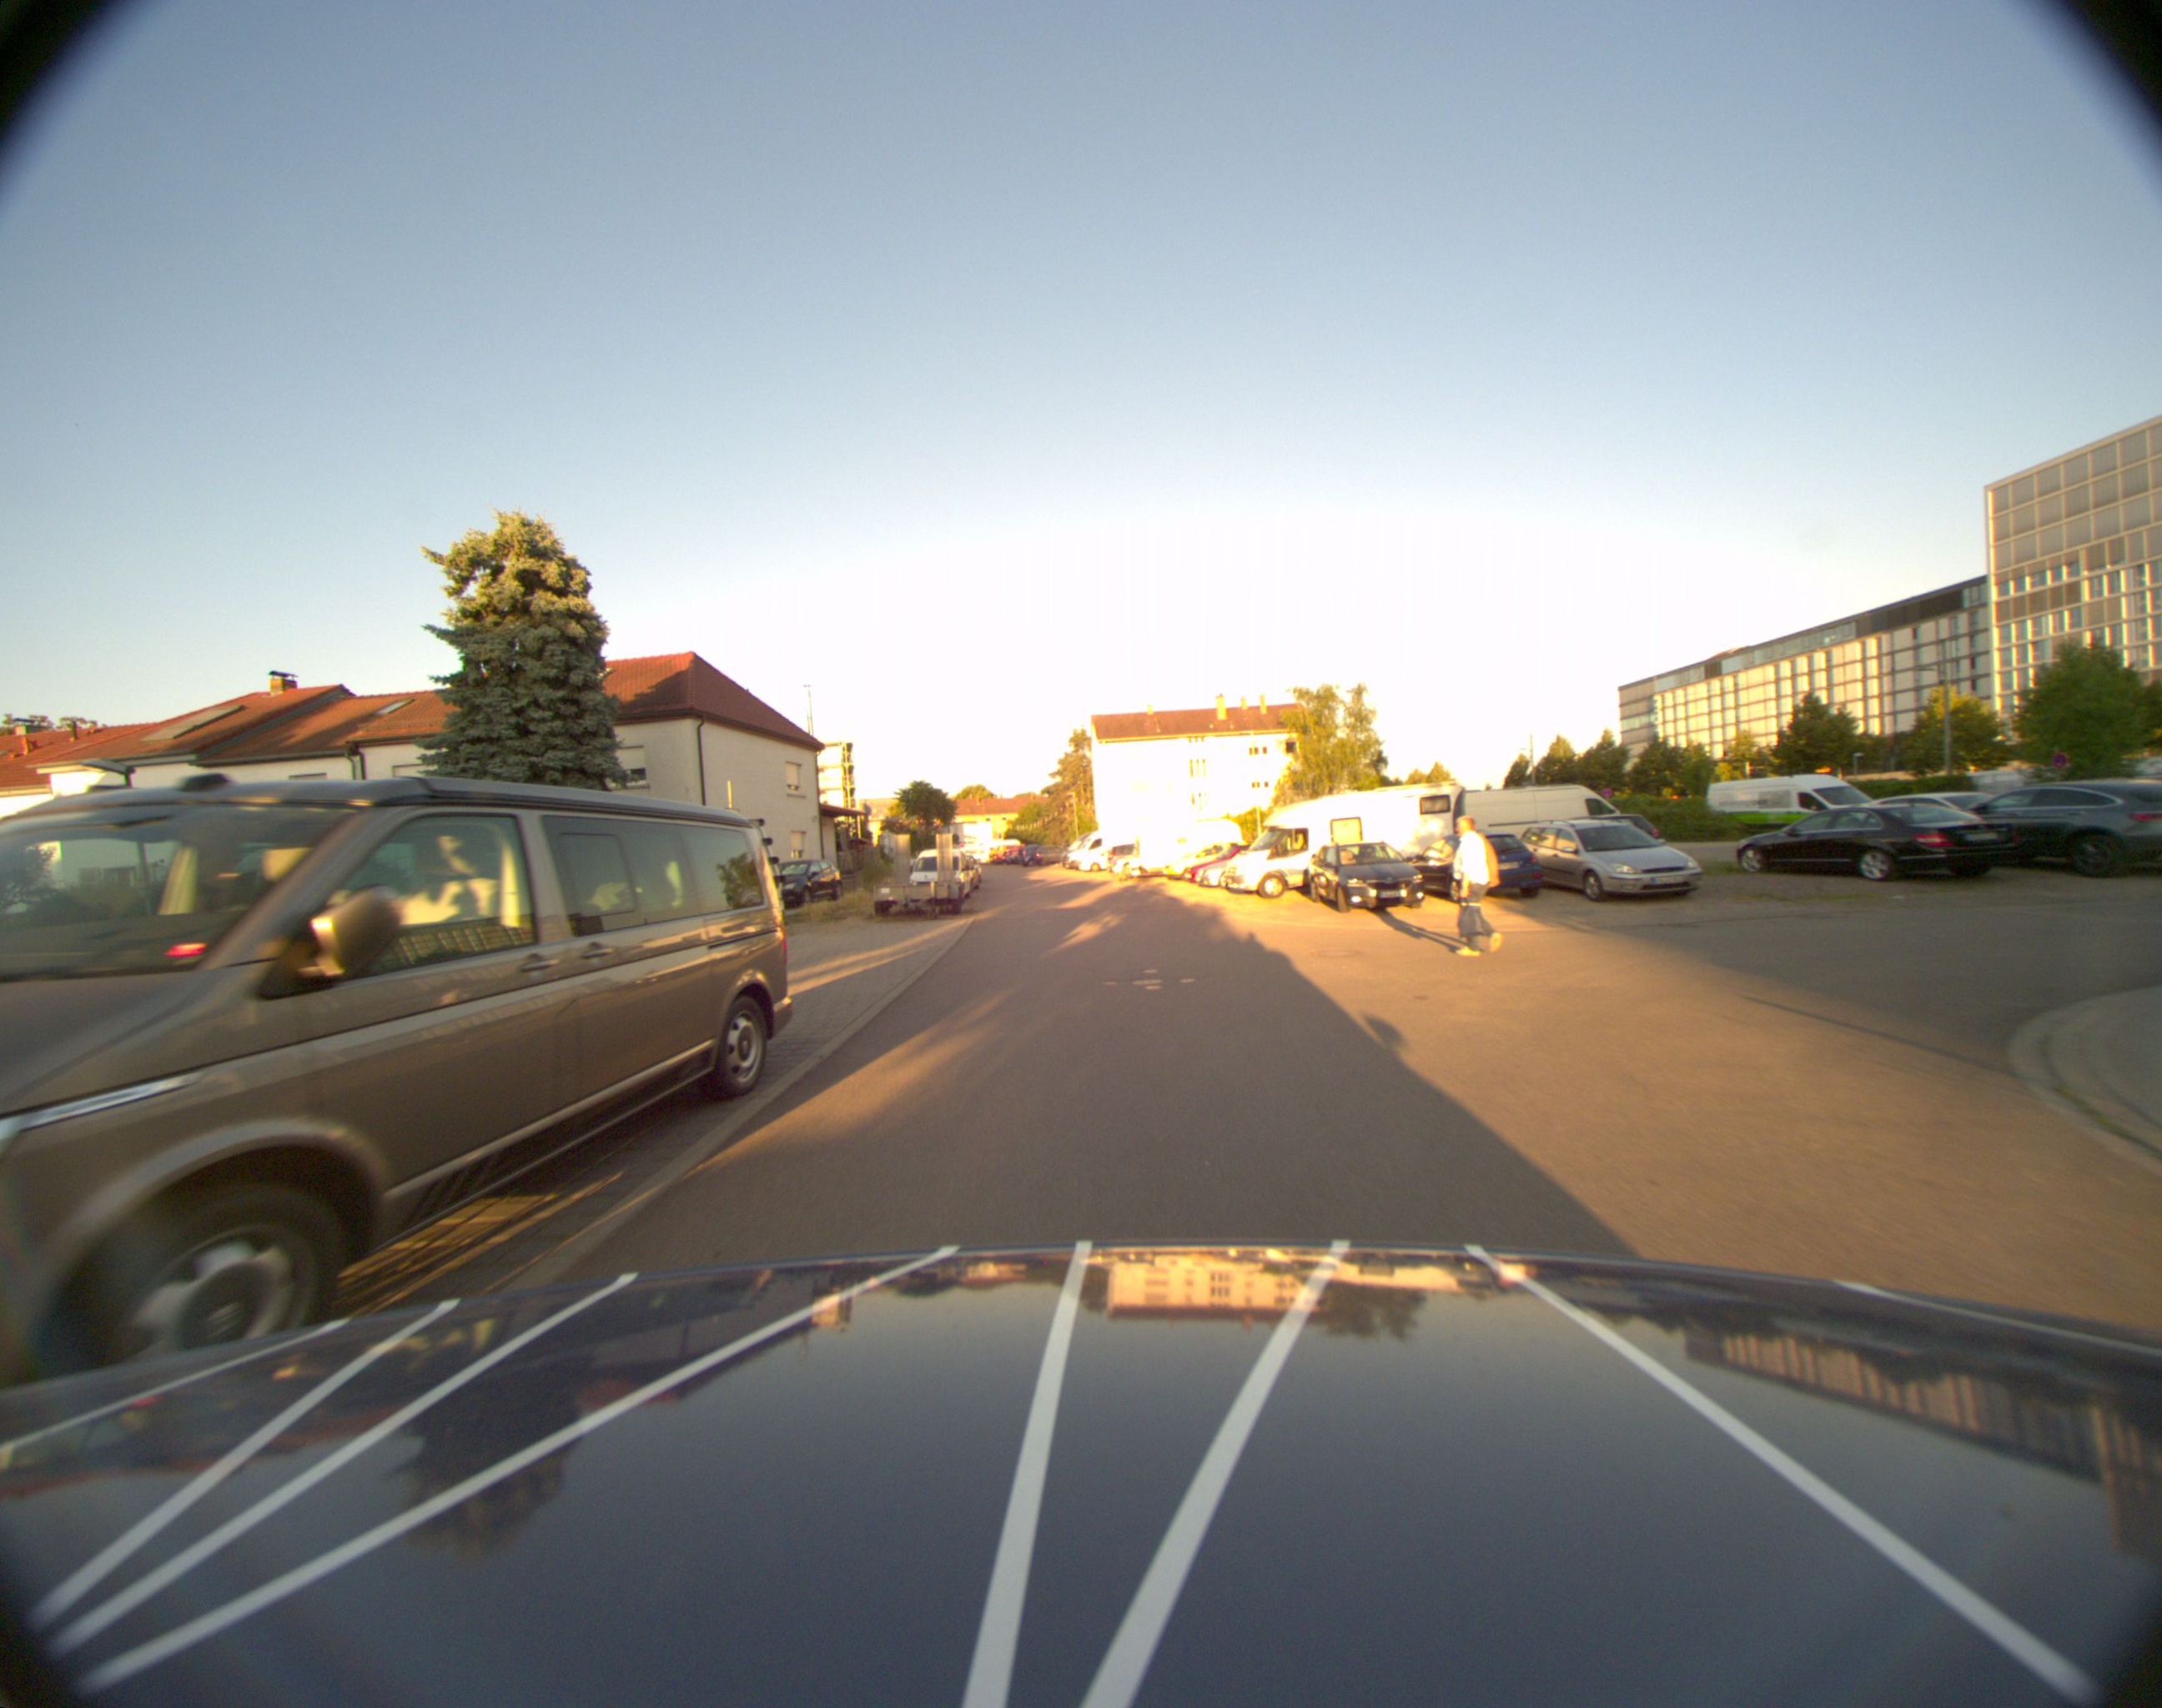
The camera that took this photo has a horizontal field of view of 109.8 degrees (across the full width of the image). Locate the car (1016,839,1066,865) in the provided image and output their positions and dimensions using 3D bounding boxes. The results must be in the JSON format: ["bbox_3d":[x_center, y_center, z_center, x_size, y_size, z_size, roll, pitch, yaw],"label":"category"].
[{"bbox_3d":[-3.547,-0.181,67.224,3.942,1.900,1.745,-6,1,-24],"label":"car"}]

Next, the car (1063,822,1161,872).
[{"bbox_3d":[2.025,-0.489,50.085,5.846,2.697,2.048,-6,1,-13],"label":"car"}]

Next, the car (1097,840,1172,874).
[{"bbox_3d":[3.001,0.170,42.762,3.936,1.582,1.747,-4,1,-3],"label":"car"}]

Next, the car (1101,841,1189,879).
[{"bbox_3d":[3.330,0.282,39.830,4.139,1.582,1.746,-6,2,-10],"label":"car"}]

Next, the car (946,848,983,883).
[{"bbox_3d":[-6.310,0.573,40.986,1.812,1.715,4.924,-2,1,-9],"label":"car"}]

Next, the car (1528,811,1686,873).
[{"bbox_3d":[15.079,-0.338,21.887,3.447,1.439,1.514,-5,1,-1],"label":"car"}]

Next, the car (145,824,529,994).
[{"bbox_3d":[-13.840,1.008,14.305,5.574,2.676,2.055,-4,-1,7],"label":"car"}]

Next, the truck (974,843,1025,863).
[{"bbox_3d":[-10.285,-0.163,95.443,6.033,2.031,2.353,-4,1,-14],"label":"truck"}]

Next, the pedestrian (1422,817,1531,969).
[{"bbox_3d":[5.051,0.482,9.774,0.901,1.839,0.856,-3,1,3],"label":"pedestrian"}]

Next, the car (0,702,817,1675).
[{"bbox_3d":[-3.302,0.733,3.711,2.070,2.083,4.872,-3,1,2],"label":"car"}]

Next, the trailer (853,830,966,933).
[{"bbox_3d":[-4.227,0.604,19.632,2.070,2.199,5.219,-3,1,-5],"label":"trailer"}]

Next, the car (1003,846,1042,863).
[{"bbox_3d":[-6.504,0.079,84.257,4.049,1.611,1.848,-4,1,-7],"label":"car"}]

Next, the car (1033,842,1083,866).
[{"bbox_3d":[-1.988,-0.002,64.922,3.938,1.643,1.747,-6,1,-8],"label":"car"}]

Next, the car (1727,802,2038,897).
[{"bbox_3d":[15.572,-0.220,15.189,1.666,1.472,4.403,-5,4,2],"label":"car"}]

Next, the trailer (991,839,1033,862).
[{"bbox_3d":[-8.445,-0.425,92.916,4.807,2.419,2.131,-5,3,-10],"label":"trailer"}]

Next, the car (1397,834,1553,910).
[{"bbox_3d":[8.582,0.327,16.919,1.666,1.414,3.722,-4,1,3],"label":"car"}]

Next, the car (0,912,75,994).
[{"bbox_3d":[-23.112,2.108,15.083,4.131,1.469,1.742,-4,3,5],"label":"car"}]

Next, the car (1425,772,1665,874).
[{"bbox_3d":[14.838,-0.967,24.564,6.258,2.658,2.222,-5,1,-1],"label":"car"}]

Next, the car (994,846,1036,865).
[{"bbox_3d":[-6.447,0.146,74.328,3.937,1.508,1.642,-4,2,-7],"label":"car"}]

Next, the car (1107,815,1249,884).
[{"bbox_3d":[4.396,-0.235,34.941,5.905,2.520,2.409,-5,2,-5],"label":"car"}]

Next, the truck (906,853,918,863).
[{"bbox_3d":[-37.835,0.841,170.343,1.844,2.090,3.733,-6,2,-23],"label":"truck"}]

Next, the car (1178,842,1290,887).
[{"bbox_3d":[5.819,0.395,29.069,3.738,1.359,1.704,-5,1,-10],"label":"car"}]

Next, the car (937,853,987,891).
[{"bbox_3d":[-5.334,0.771,34.453,1.709,1.510,4.086,-3,1,-2],"label":"car"}]

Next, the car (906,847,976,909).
[{"bbox_3d":[-4.708,0.745,26.144,1.776,1.821,4.405,-3,2,-3],"label":"car"}]

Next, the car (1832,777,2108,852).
[{"bbox_3d":[21.500,-0.871,18.726,1.666,1.491,4.406,-5,0,2],"label":"car"}]

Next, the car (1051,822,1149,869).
[{"bbox_3d":[1.355,-0.645,54.212,6.412,2.698,2.109,-6,3,-18],"label":"car"}]

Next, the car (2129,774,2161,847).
[{"bbox_3d":[23.344,-0.842,14.196,1.666,1.492,4.298,-5,4,2],"label":"car"}]

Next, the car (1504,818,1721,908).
[{"bbox_3d":[10.730,0.069,15.764,1.666,1.472,4.203,-5,3,4],"label":"car"}]

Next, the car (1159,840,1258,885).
[{"bbox_3d":[5.292,0.324,31.706,3.640,1.510,1.704,-5,1,-10],"label":"car"}]

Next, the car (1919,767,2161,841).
[{"bbox_3d":[24.878,-1.215,19.599,1.666,1.612,4.405,-5,1,2],"label":"car"}]

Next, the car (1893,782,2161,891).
[{"bbox_3d":[17.991,-0.426,13.906,1.666,1.613,4.403,-5,4,2],"label":"car"}]

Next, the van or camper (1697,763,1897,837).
[{"bbox_3d":[30.364,-2.154,32.668,2.020,2.675,6.637,-5,1,-2],"label":"van or camper"}]

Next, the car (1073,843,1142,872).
[{"bbox_3d":[1.631,0.173,47.433,3.938,1.499,1.788,-4,2,-10],"label":"car"}]

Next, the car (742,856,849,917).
[{"bbox_3d":[-8.961,0.960,24.207,1.639,1.511,3.902,-3,3,4],"label":"car"}]

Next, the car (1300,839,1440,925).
[{"bbox_3d":[6.223,0.503,16.898,1.690,1.510,4.361,-5,1,5],"label":"car"}]

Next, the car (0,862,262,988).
[{"bbox_3d":[-22.490,1.614,17.465,5.574,2.499,2.055,-4,-1,7],"label":"car"}]

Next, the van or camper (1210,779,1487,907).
[{"bbox_3d":[7.321,-0.314,21.323,6.758,2.881,2.408,-4,1,-2],"label":"van or camper"}]

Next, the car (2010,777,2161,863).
[{"bbox_3d":[20.984,-0.667,14.310,1.666,1.492,4.403,-5,4,2],"label":"car"}]

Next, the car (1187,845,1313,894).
[{"bbox_3d":[5.812,0.508,26.307,3.819,1.321,1.691,-5,1,-8],"label":"car"}]
